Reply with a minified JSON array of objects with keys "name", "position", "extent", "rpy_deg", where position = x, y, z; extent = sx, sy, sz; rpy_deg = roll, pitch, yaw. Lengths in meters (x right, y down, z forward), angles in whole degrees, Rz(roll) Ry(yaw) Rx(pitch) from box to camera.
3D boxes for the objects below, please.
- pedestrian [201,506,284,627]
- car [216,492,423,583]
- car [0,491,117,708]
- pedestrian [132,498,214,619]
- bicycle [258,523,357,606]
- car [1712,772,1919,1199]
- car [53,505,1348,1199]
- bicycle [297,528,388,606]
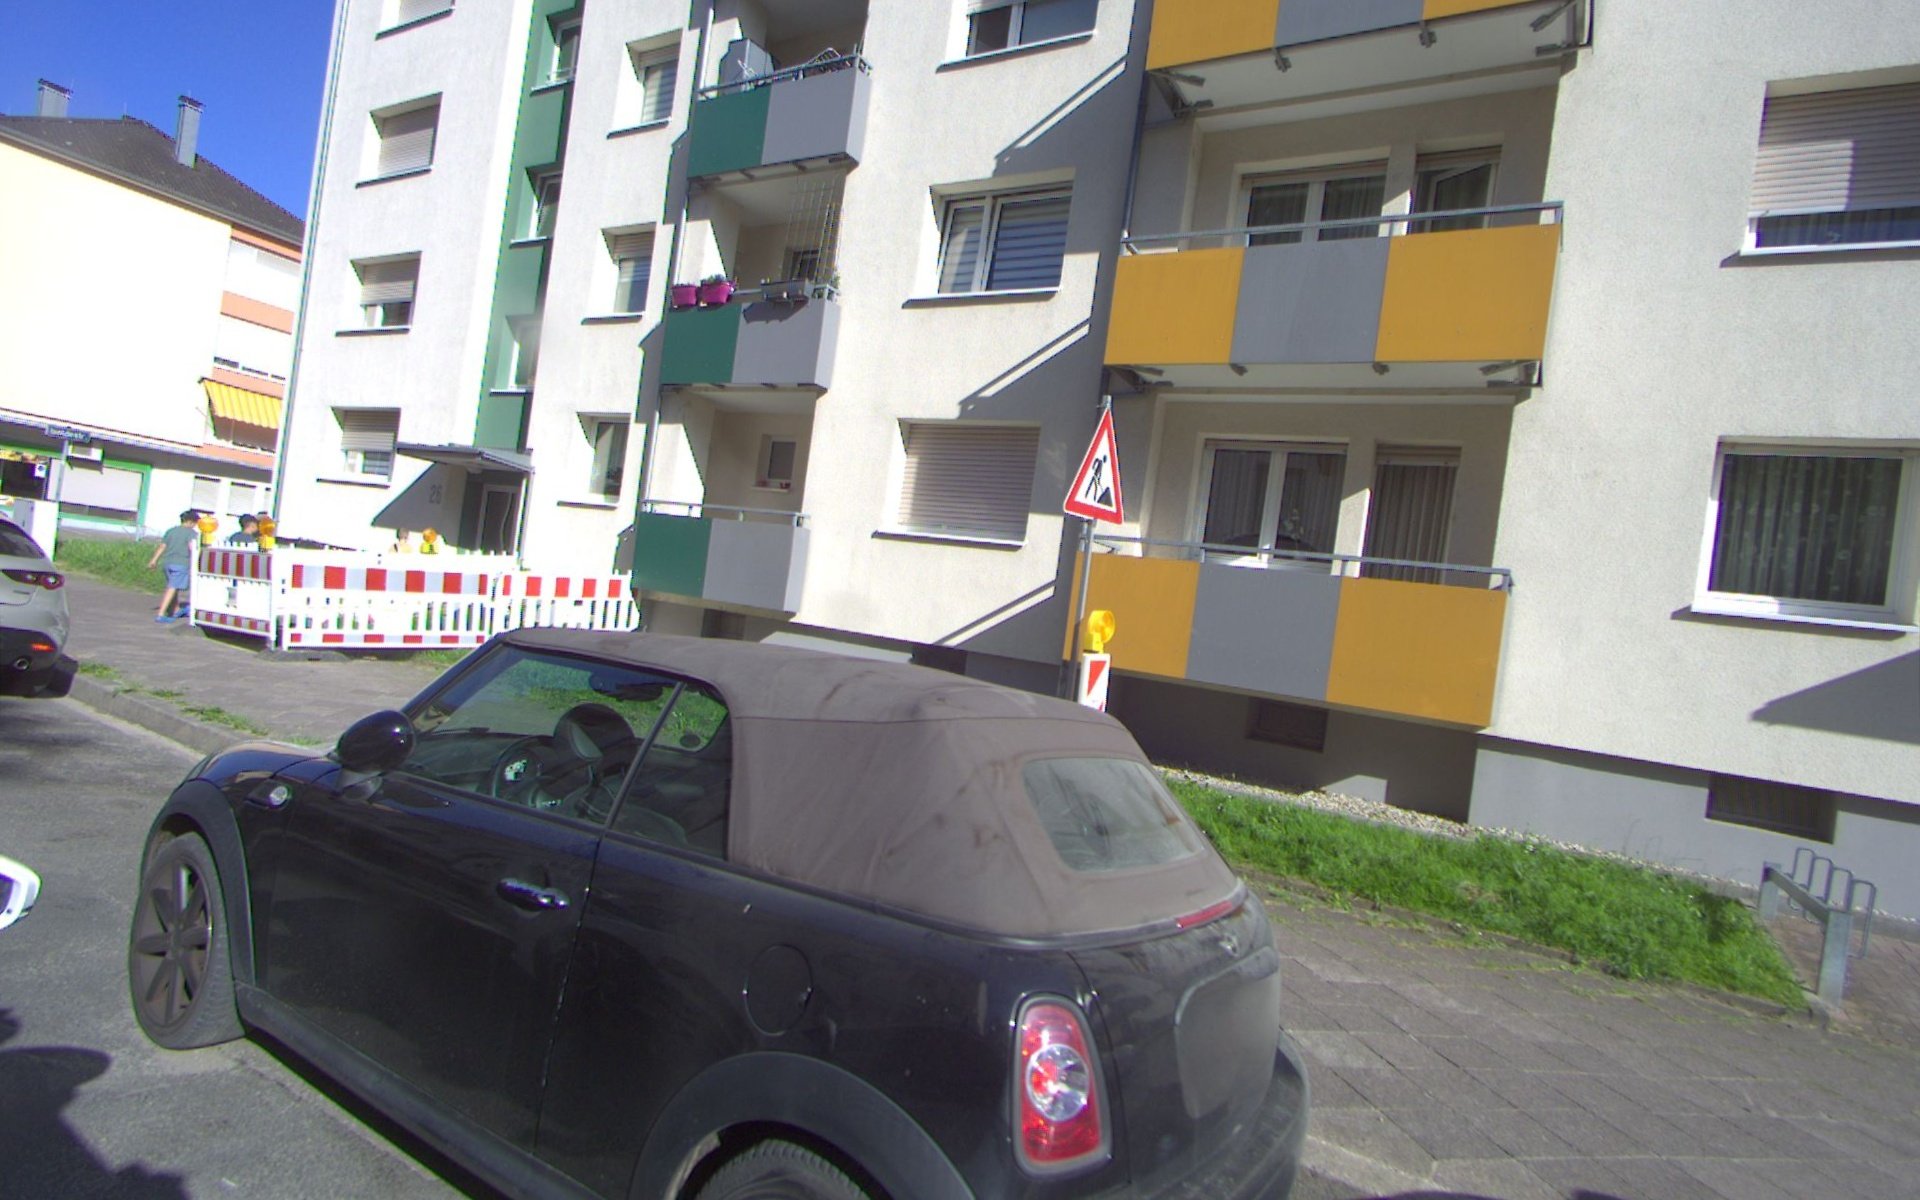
[{"name":"pedestrian","position":[-9.229,-0.423,12.943],"extent":[0.566,1.451,0.472],"rpy_deg":[8,0,18]},{"name":"car","position":[-17.310,-1.658,27.373],"extent":[1.796,1.631,4.247],"rpy_deg":[7,-3,37]},{"name":"car","position":[-8.810,-0.290,8.028],"extent":[4.268,1.484,1.799],"rpy_deg":[7,-6,32]},{"name":"pedestrian","position":[-10.011,-0.510,12.811],"extent":[0.498,1.451,0.451],"rpy_deg":[8,0,5]},{"name":"bicycle","position":[-10.483,-0.580,16.137],"extent":[1.866,1.135,0.560],"rpy_deg":[8,3,32]},{"name":"car","position":[3.106,1.243,0.794],"extent":[3.754,1.478,1.692],"rpy_deg":[7,-4,29]},{"name":"car","position":[-0.909,0.740,3.080],"extent":[3.524,1.480,1.695],"rpy_deg":[7,-6,32]},{"name":"bicycle","position":[-10.180,-0.553,16.554],"extent":[1.866,1.076,0.445],"rpy_deg":[8,4,32]}]
